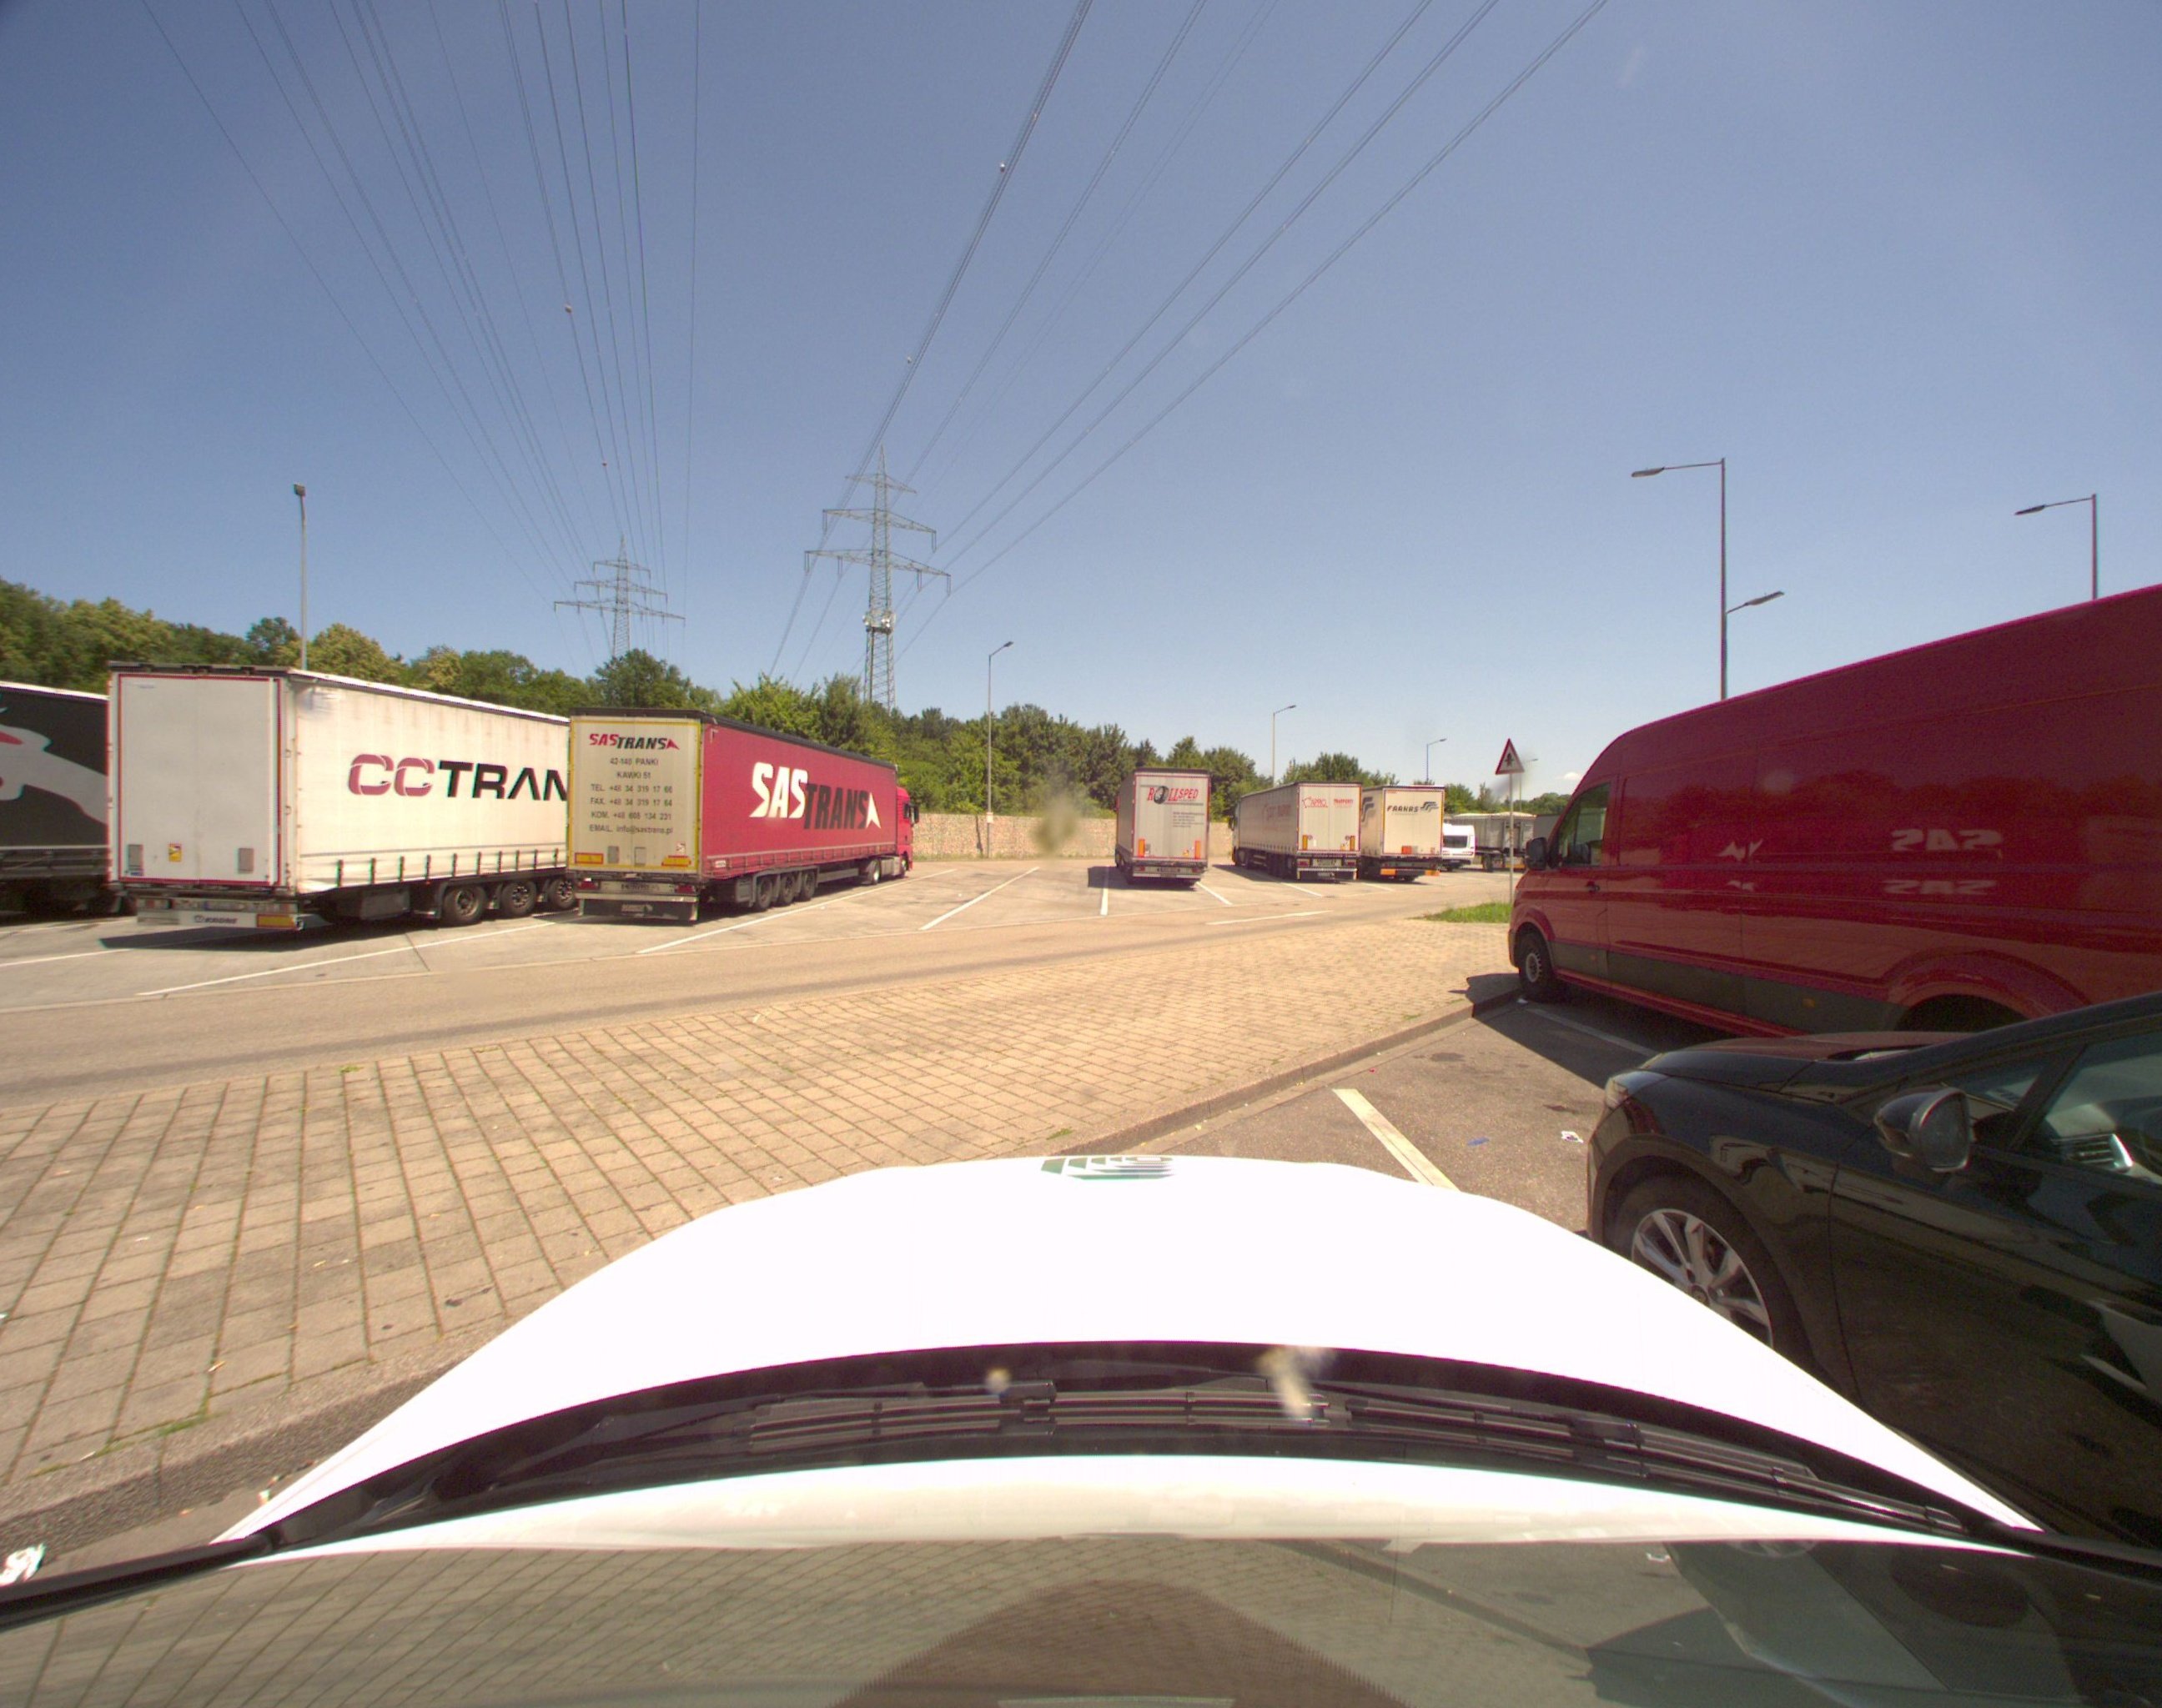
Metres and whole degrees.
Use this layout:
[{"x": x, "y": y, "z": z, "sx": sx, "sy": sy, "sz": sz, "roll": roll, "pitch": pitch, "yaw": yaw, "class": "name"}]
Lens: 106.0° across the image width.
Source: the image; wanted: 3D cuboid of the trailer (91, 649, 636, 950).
[{"x": -12.186, "y": -0.810, "z": 15.408, "sx": 2.744, "sy": 4.152, "sz": 8.291, "roll": 0, "pitch": 1, "yaw": 2, "class": "trailer"}]

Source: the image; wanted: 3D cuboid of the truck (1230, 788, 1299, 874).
[{"x": 10.079, "y": -1.234, "z": 45.227, "sx": 2.651, "sy": 4.452, "sz": 5.866, "roll": -1, "pitch": 1, "yaw": 2, "class": "truck"}]

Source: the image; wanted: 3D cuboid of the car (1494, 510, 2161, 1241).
[{"x": 5.141, "y": 0.033, "z": 5.511, "sx": 1.984, "sy": 2.633, "sz": 6.393, "roll": -1, "pitch": 1, "yaw": 5, "class": "car"}]

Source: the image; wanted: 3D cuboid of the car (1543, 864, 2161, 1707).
[{"x": 2.547, "y": 0.751, "z": 0.910, "sx": 1.773, "sy": 1.457, "sz": 3.679, "roll": 0, "pitch": -1, "yaw": -5, "class": "car"}]

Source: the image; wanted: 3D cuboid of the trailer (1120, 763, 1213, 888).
[{"x": 3.056, "y": -1.004, "z": 32.147, "sx": 2.886, "sy": 4.013, "sz": 11.323, "roll": -1, "pitch": 1, "yaw": 2, "class": "trailer"}]

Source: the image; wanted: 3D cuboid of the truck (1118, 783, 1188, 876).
[{"x": 3.234, "y": -1.094, "z": 37.905, "sx": 2.861, "sy": 3.980, "sz": 6.032, "roll": -1, "pitch": 1, "yaw": 2, "class": "truck"}]

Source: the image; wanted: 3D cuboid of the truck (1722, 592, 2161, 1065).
[{"x": 7.790, "y": -0.150, "z": 5.996, "sx": 2.508, "sy": 2.827, "sz": 4.821, "roll": 0, "pitch": -1, "yaw": 3, "class": "truck"}]

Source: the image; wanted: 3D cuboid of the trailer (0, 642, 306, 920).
[{"x": -18.565, "y": -1.184, "z": 14.893, "sx": 2.668, "sy": 4.444, "sz": 6.151, "roll": -1, "pitch": 1, "yaw": 2, "class": "trailer"}]

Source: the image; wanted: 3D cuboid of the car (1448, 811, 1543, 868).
[{"x": 24.137, "y": -0.822, "z": 47.770, "sx": 2.490, "sy": 3.074, "sz": 6.353, "roll": -1, "pitch": 1, "yaw": 2, "class": "car"}]

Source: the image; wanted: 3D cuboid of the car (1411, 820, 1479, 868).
[{"x": 20.539, "y": -0.519, "z": 46.148, "sx": 2.107, "sy": 2.599, "sz": 4.001, "roll": 0, "pitch": -1, "yaw": 2, "class": "car"}]

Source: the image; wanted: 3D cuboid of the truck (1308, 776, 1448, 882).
[{"x": 13.533, "y": -0.941, "z": 38.560, "sx": 2.577, "sy": 4.226, "sz": 11.974, "roll": 0, "pitch": -1, "yaw": 2, "class": "truck"}]

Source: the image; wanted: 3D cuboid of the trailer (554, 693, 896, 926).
[{"x": -8.000, "y": -0.897, "z": 21.475, "sx": 2.789, "sy": 4.219, "sz": 13.208, "roll": -1, "pitch": 1, "yaw": 2, "class": "trailer"}]

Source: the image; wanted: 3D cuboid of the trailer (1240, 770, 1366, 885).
[{"x": 9.903, "y": -1.114, "z": 38.155, "sx": 2.672, "sy": 4.452, "sz": 12.833, "roll": -1, "pitch": 1, "yaw": 1, "class": "trailer"}]

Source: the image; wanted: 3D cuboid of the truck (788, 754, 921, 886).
[{"x": -7.750, "y": -1.120, "z": 28.731, "sx": 2.795, "sy": 4.133, "sz": 5.896, "roll": -1, "pitch": 1, "yaw": 2, "class": "truck"}]
